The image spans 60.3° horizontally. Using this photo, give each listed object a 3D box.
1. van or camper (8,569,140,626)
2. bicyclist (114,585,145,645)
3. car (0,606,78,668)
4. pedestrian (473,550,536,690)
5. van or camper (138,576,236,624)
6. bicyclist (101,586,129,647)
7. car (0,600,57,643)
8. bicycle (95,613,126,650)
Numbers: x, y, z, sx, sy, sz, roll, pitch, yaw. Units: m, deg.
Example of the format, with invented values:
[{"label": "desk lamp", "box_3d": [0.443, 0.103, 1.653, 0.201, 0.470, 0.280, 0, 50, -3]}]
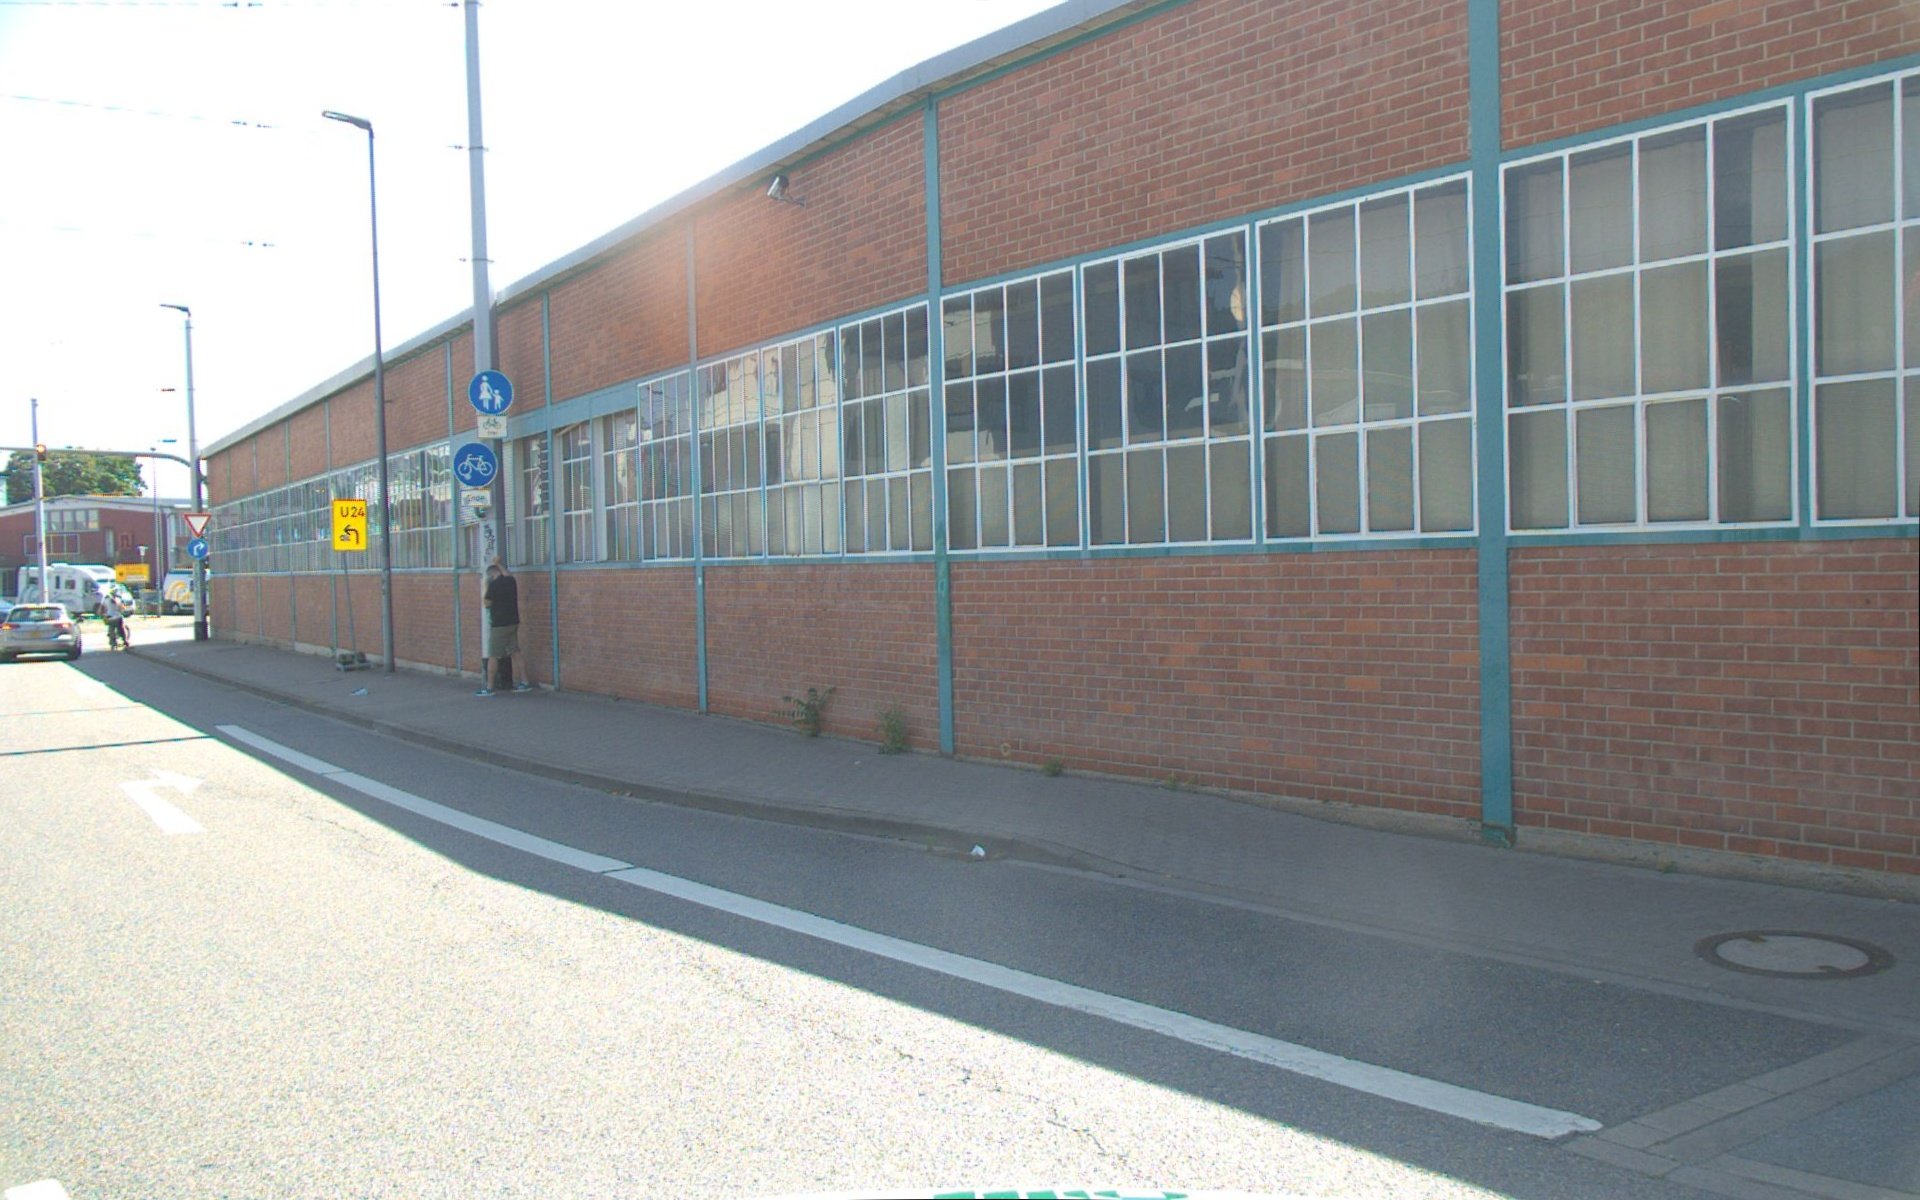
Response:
[{"label": "van or camper", "box_3d": [-49.713, -0.175, 92.865, 6.816, 2.981, 2.356, 1, 3, 17]}, {"label": "bicyclist", "box_3d": [-24.701, 0.434, 49.180, 0.777, 1.751, 1.136, -1, 1, -28]}, {"label": "car", "box_3d": [-24.585, 0.955, 44.150, 1.726, 1.484, 3.964, -2, 1, -27]}, {"label": "pedestrian", "box_3d": [-5.979, 0.248, 21.711, 0.677, 1.795, 0.444, -2, 3, -31]}, {"label": "van or camper", "box_3d": [-45.840, -0.026, 98.094, 5.260, 2.482, 2.290, 3, 3, 23]}, {"label": "bicyclist", "box_3d": [-26.096, 0.512, 51.057, 0.700, 1.842, 0.974, -1, 1, -29]}, {"label": "car", "box_3d": [-36.568, 0.855, 62.405, 3.914, 1.534, 1.875, -2, 1, -10]}, {"label": "bicycle", "box_3d": [-25.210, 0.922, 49.082, 0.785, 1.039, 2.132, -1, 1, -27]}]
